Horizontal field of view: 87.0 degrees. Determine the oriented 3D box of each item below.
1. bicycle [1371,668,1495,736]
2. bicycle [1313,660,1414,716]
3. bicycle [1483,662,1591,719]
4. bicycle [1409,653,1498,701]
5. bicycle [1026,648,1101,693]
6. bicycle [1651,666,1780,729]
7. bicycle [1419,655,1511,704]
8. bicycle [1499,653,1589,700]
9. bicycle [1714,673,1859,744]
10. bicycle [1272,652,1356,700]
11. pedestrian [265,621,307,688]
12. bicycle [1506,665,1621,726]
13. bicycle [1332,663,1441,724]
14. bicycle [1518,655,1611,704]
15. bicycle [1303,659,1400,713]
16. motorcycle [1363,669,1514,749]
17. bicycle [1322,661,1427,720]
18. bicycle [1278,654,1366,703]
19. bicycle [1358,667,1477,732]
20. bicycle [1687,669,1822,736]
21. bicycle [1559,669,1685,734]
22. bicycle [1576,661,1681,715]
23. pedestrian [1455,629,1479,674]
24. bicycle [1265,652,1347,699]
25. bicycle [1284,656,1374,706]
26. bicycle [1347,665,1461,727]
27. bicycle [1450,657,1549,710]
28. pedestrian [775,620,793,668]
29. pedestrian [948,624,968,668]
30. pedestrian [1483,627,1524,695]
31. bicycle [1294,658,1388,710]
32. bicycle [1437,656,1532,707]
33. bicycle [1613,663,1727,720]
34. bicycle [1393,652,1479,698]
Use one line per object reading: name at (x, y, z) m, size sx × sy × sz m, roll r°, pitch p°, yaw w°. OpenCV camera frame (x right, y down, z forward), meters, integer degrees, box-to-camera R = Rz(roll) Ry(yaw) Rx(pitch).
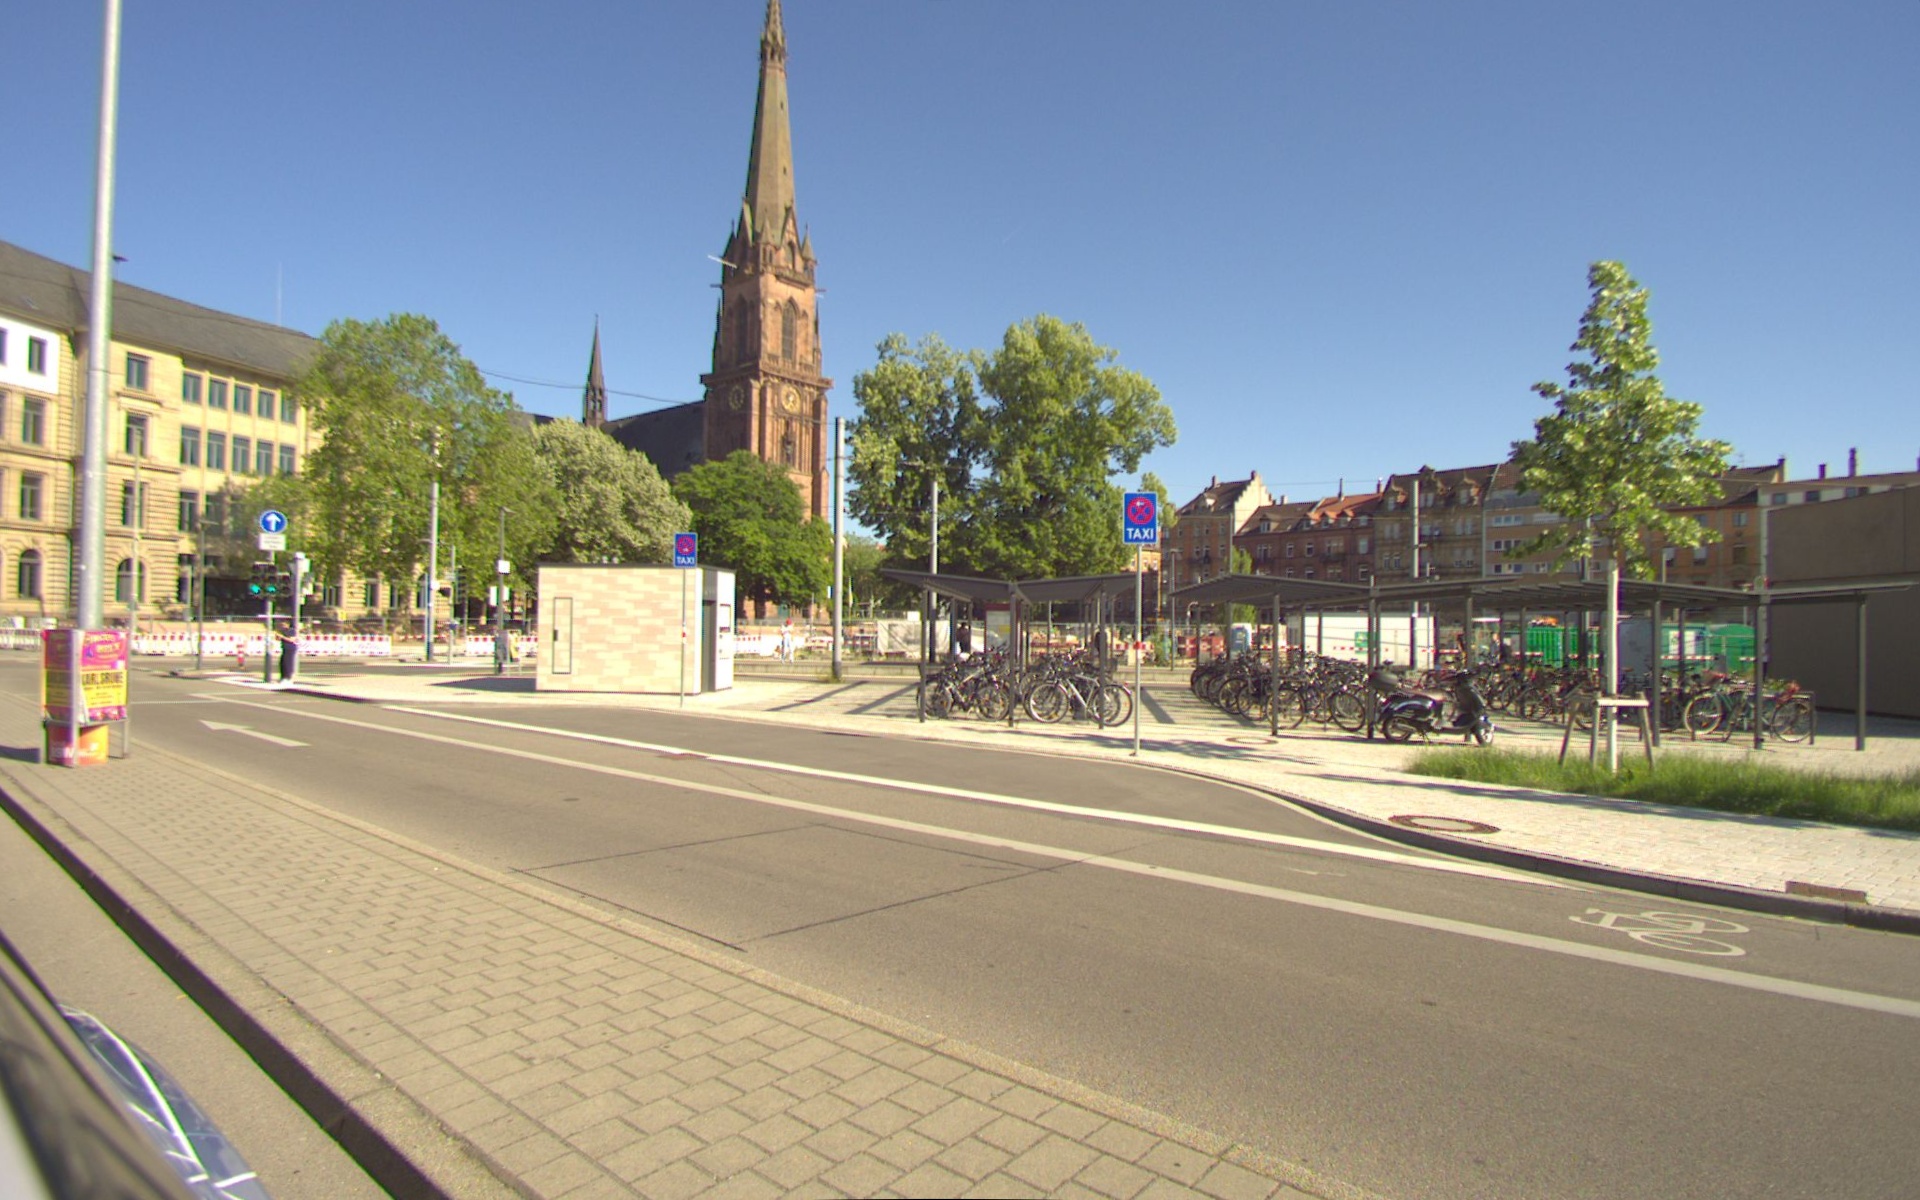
bicycle at (7.851, 1.692, 16.838) m, size 1.765 × 1.046 × 0.567 m, roll 1°, pitch -3°, yaw 4°
bicycle at (8.021, 1.746, 20.172) m, size 1.765 × 1.046 × 0.567 m, roll 1°, pitch -3°, yaw 4°
bicycle at (11.287, 1.764, 19.825) m, size 1.765 × 1.046 × 0.567 m, roll 1°, pitch -3°, yaw 4°
bicycle at (11.446, 1.785, 23.506) m, size 1.765 × 1.046 × 0.567 m, roll 1°, pitch -3°, yaw 4°
bicycle at (2.530, 1.716, 24.815) m, size 1.765 × 1.046 × 0.567 m, roll 1°, pitch -3°, yaw 4°
bicycle at (13.593, 1.751, 18.251) m, size 1.769 × 1.046 × 0.566 m, roll 1°, pitch -3°, yaw 12°
bicycle at (11.413, 1.791, 22.885) m, size 1.765 × 1.046 × 0.567 m, roll 1°, pitch -3°, yaw 4°
bicycle at (13.832, 1.816, 23.992) m, size 1.765 × 1.046 × 0.567 m, roll 1°, pitch -3°, yaw 4°
bicycle at (13.160, 1.718, 16.151) m, size 1.765 × 1.046 × 0.567 m, roll 1°, pitch -3°, yaw 4°
bicycle at (8.242, 1.756, 23.601) m, size 1.765 × 1.046 × 0.567 m, roll 1°, pitch -3°, yaw 4°
pedestrian at (-17.581, 1.400, 26.412) m, size 0.648 × 1.693 × 0.779 m, roll -1°, pitch 0°, yaw 42°
bicycle at (11.213, 1.765, 18.829) m, size 1.765 × 1.046 × 0.567 m, roll 1°, pitch -3°, yaw 4°
bicycle at (7.929, 1.730, 18.848) m, size 1.765 × 1.046 × 0.567 m, roll 1°, pitch -3°, yaw 4°
bicycle at (13.887, 1.815, 23.277) m, size 1.765 × 1.046 × 0.567 m, roll 1°, pitch -3°, yaw 4°
bicycle at (8.063, 1.767, 20.881) m, size 1.765 × 1.046 × 0.567 m, roll 1°, pitch -3°, yaw 4°
motorcycle at (7.171, 1.626, 15.239) m, size 1.962 × 1.128 × 0.593 m, roll 0°, pitch -2°, yaw 8°
bicycle at (7.961, 1.729, 19.484) m, size 1.765 × 1.046 × 0.567 m, roll 1°, pitch -3°, yaw 4°
bicycle at (8.199, 1.776, 22.966) m, size 1.765 × 1.046 × 0.567 m, roll 1°, pitch -3°, yaw 4°
bicycle at (7.894, 1.712, 17.501) m, size 1.765 × 1.046 × 0.567 m, roll 1°, pitch -3°, yaw 4°
bicycle at (13.387, 1.723, 17.085) m, size 1.765 × 1.046 × 0.567 m, roll 1°, pitch -3°, yaw 4°
bicycle at (11.454, 1.752, 17.538) m, size 1.765 × 1.046 × 0.567 m, roll 1°, pitch -3°, yaw 4°
bicycle at (13.845, 1.817, 20.991) m, size 1.765 × 1.046 × 0.567 m, roll 1°, pitch -3°, yaw 4°
pedestrian at (17.732, 1.801, 35.387) m, size 0.581 × 1.530 × 0.559 m, roll 1°, pitch -2°, yaw 6°
bicycle at (8.272, 1.795, 24.237) m, size 1.765 × 1.046 × 0.567 m, roll 1°, pitch -3°, yaw 4°
bicycle at (8.149, 1.784, 22.364) m, size 1.765 × 1.046 × 0.567 m, roll 1°, pitch -3°, yaw 4°
bicycle at (7.919, 1.706, 18.104) m, size 1.765 × 1.046 × 0.567 m, roll 1°, pitch -3°, yaw 4°
bicycle at (11.373, 1.762, 21.375) m, size 1.765 × 1.046 × 0.567 m, roll 1°, pitch -3°, yaw 4°
pedestrian at (-6.544, 1.636, 37.699) m, size 0.529 × 1.736 × 0.684 m, roll 0°, pitch -6°, yaw -19°
pedestrian at (-0.072, 1.763, 39.100) m, size 0.518 × 1.667 × 0.559 m, roll -1°, pitch 0°, yaw 41°
pedestrian at (14.067, 1.563, 26.206) m, size 0.672 × 1.736 × 0.618 m, roll 1°, pitch -2°, yaw -4°
bicycle at (8.114, 1.780, 21.600) m, size 1.765 × 1.046 × 0.567 m, roll 1°, pitch -3°, yaw 4°
bicycle at (11.434, 1.777, 22.092) m, size 1.765 × 1.046 × 0.567 m, roll 1°, pitch -3°, yaw 4°
bicycle at (13.797, 1.769, 19.707) m, size 1.765 × 1.046 × 0.567 m, roll 1°, pitch -3°, yaw 4°
bicycle at (11.377, 1.782, 24.220) m, size 1.765 × 1.046 × 0.567 m, roll 1°, pitch -3°, yaw 4°
